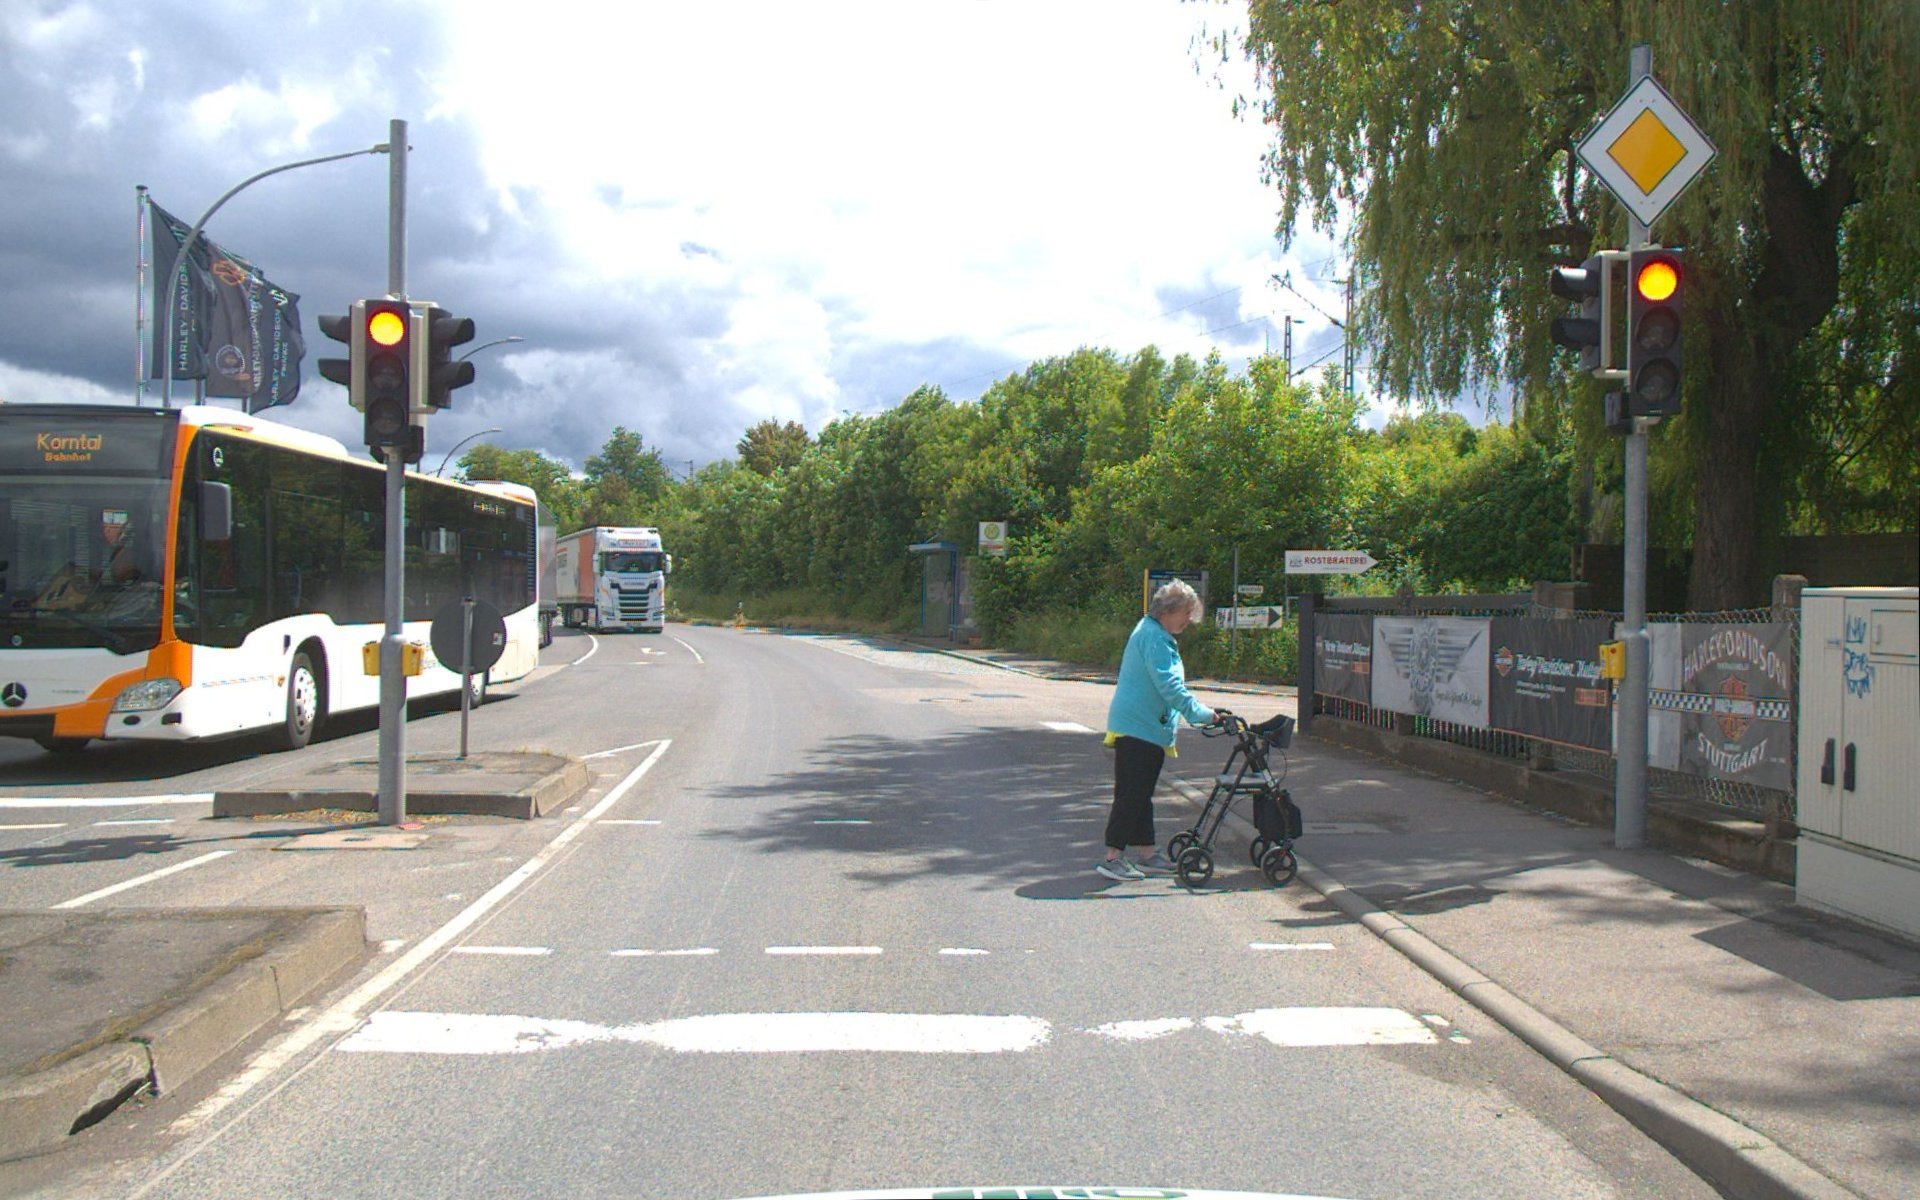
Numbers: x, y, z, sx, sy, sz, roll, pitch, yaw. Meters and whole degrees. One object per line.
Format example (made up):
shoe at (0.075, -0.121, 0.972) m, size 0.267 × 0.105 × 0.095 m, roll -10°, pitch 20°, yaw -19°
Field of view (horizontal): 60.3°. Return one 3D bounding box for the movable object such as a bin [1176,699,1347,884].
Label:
movable object such as a bin at (1.569, 0.987, 8.681) m, size 0.731 × 0.887 × 0.670 m, roll 1°, pitch 0°, yaw -4°

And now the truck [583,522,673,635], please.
truck at (-12.994, -0.801, 64.485) m, size 2.729 × 4.191 × 4.959 m, roll 1°, pitch 0°, yaw -19°

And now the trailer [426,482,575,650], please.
trailer at (-13.195, -0.838, 48.800) m, size 2.748 × 4.124 × 15.517 m, roll 1°, pitch 0°, yaw -10°

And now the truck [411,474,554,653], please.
truck at (-11.925, -0.843, 41.833) m, size 2.748 × 4.124 × 6.484 m, roll 1°, pitch 0°, yaw -10°

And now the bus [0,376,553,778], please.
bus at (-7.388, -0.156, 18.796) m, size 2.663 × 3.084 × 12.263 m, roll 0°, pitch 0°, yaw -1°

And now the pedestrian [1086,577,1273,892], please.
pedestrian at (1.132, 0.677, 8.659) m, size 0.822 × 1.570 × 0.733 m, roll 1°, pitch -1°, yaw -4°

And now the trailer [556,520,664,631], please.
trailer at (-15.321, -0.942, 71.322) m, size 2.729 × 4.217 × 15.267 m, roll 1°, pitch 0°, yaw -19°
